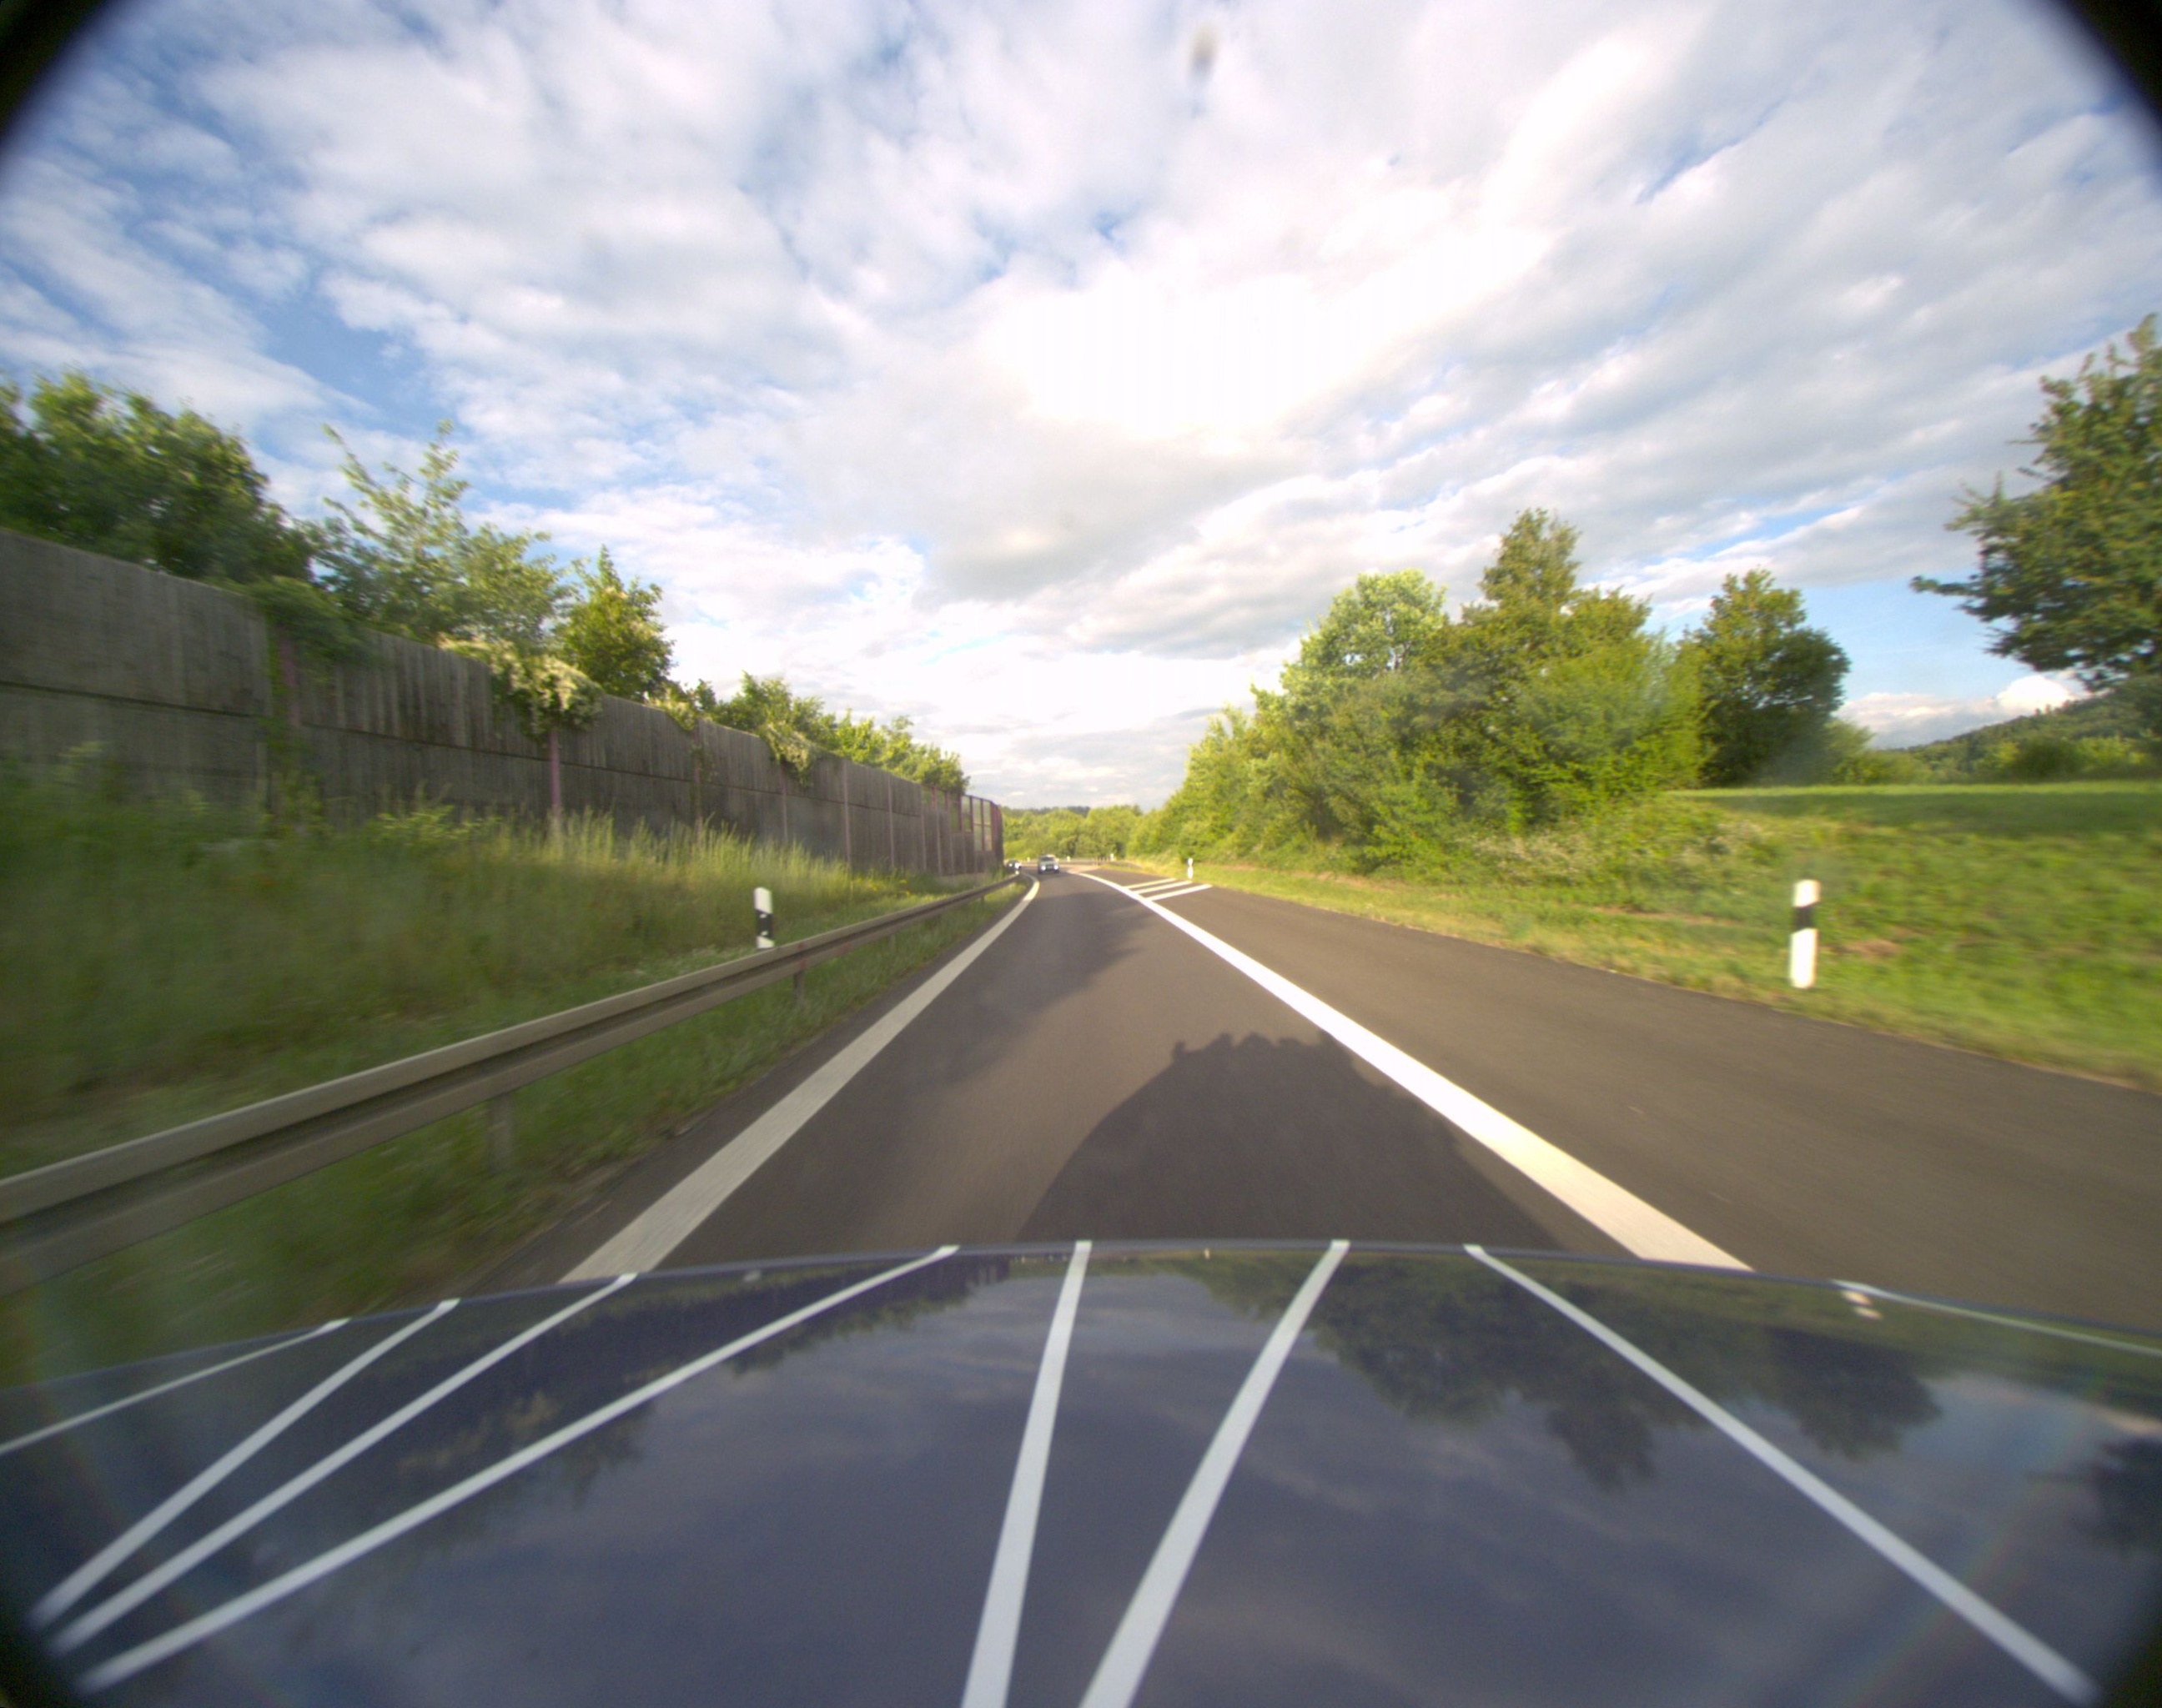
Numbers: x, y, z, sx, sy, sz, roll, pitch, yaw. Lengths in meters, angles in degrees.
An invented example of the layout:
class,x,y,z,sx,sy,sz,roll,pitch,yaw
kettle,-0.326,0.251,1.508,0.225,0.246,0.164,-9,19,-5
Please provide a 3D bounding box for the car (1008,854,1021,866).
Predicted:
class,x,y,z,sx,sy,sz,roll,pitch,yaw
car,-10.123,0.870,115.281,1.808,1.706,3.997,-2,0,-8

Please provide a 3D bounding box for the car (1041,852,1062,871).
class,x,y,z,sx,sy,sz,roll,pitch,yaw
car,-2.876,0.731,74.060,1.905,1.655,3.999,-4,0,-3
